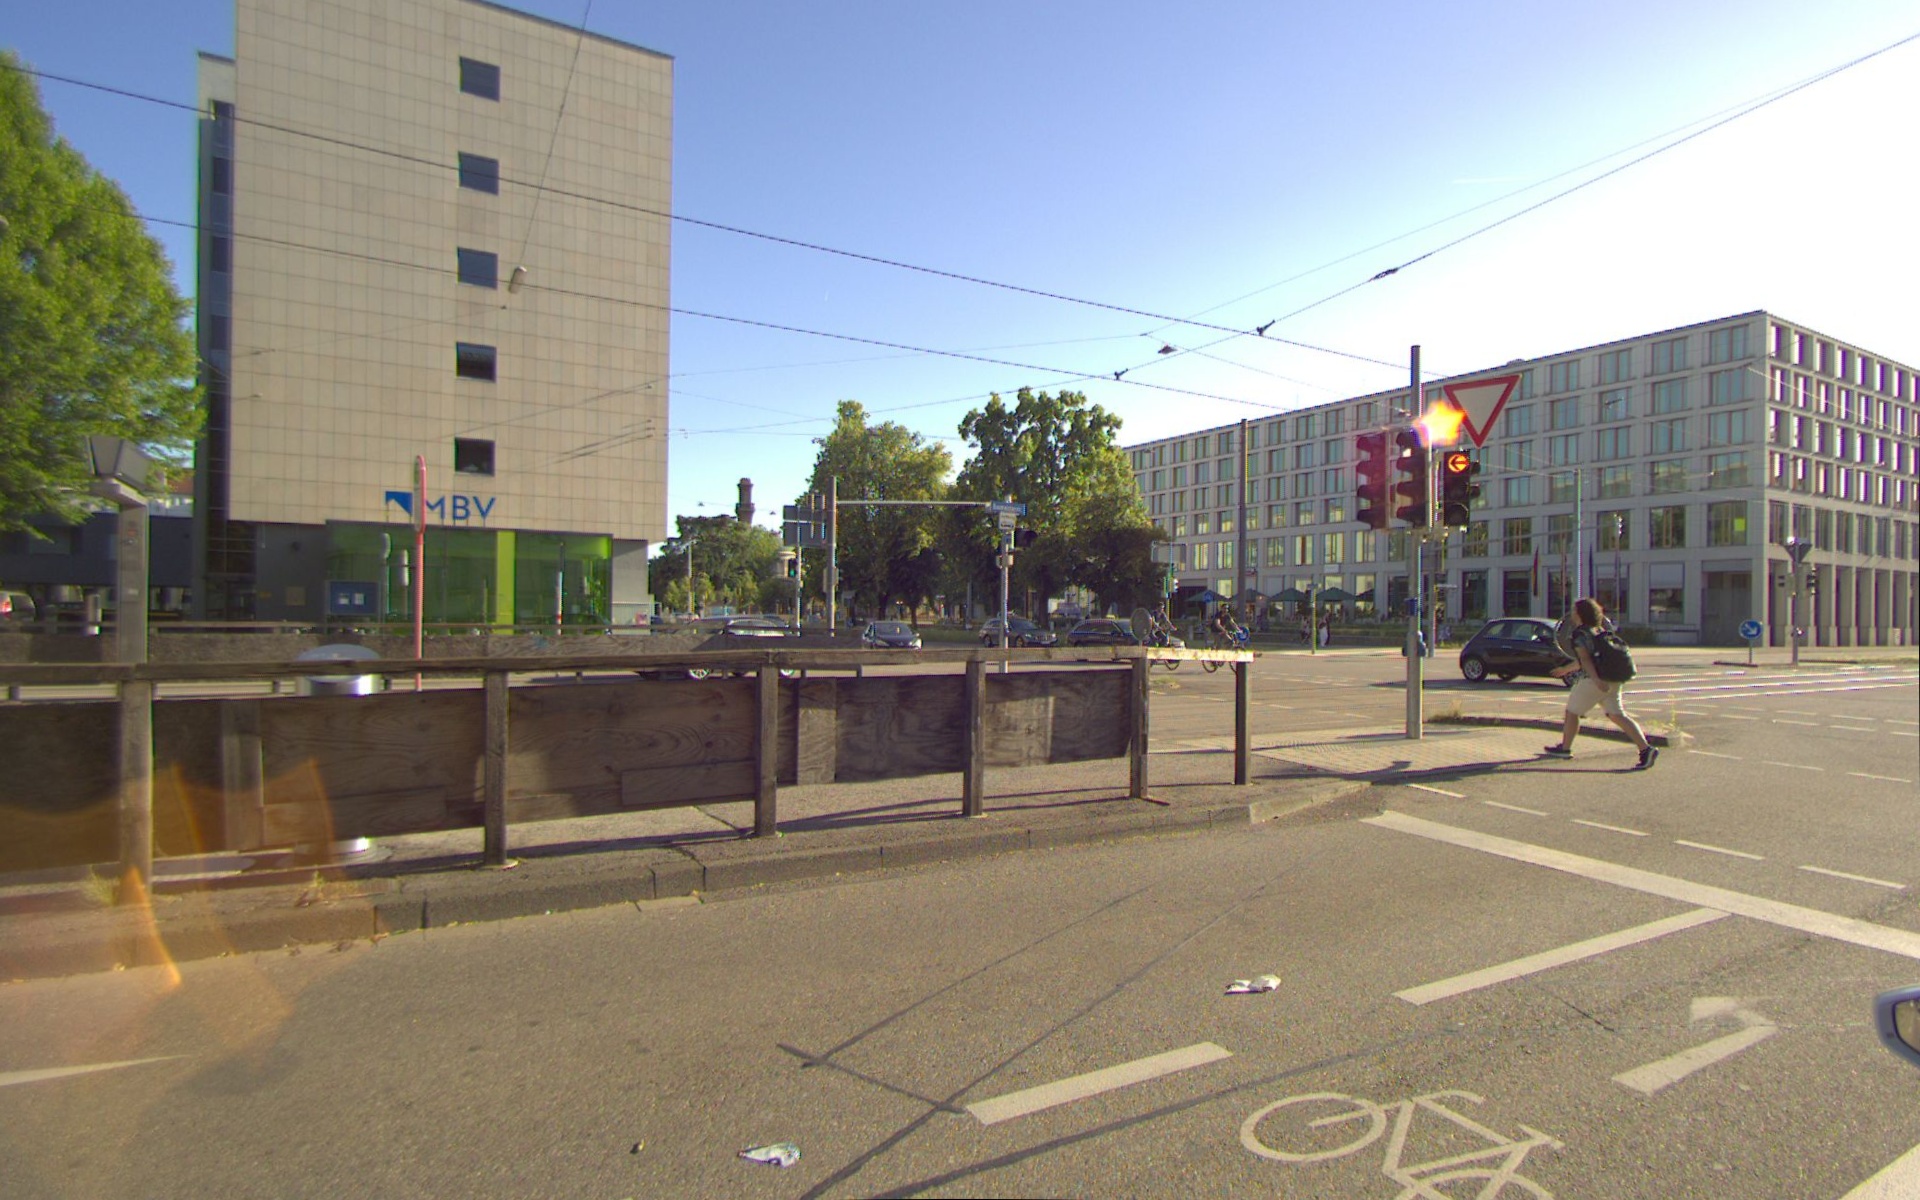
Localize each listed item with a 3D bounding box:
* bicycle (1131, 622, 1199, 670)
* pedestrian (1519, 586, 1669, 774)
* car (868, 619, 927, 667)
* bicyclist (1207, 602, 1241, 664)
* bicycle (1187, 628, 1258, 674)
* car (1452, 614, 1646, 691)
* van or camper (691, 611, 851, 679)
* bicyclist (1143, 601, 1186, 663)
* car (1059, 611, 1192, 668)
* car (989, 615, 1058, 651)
[{"bbox_3d":[5.825,1.298,28.697,0.874,1.305,2.042,1,-1,-24],"label":"bicycle"},{"bbox_3d":[6.338,0.754,10.046,1.027,1.743,1.030,1,-1,-41],"label":"pedestrian"},{"bbox_3d":[-2.190,1.491,36.340,1.745,1.615,4.287,0,-1,1],"label":"car"},{"bbox_3d":[6.906,0.853,26.262,0.586,1.603,0.617,1,-1,-24],"label":"bicyclist"},{"bbox_3d":[6.841,1.322,26.270,0.779,1.137,1.918,1,-1,-24],"label":"bicycle"},{"bbox_3d":[13.226,1.129,22.735,1.505,1.526,3.511,1,0,-32],"label":"car"},{"bbox_3d":[-4.574,1.129,24.422,3.491,1.522,1.586,3,-4,-34],"label":"van or camper"},{"bbox_3d":[5.835,0.908,28.716,0.833,1.717,0.887,1,-1,-24],"label":"bicyclist"},{"bbox_3d":[5.530,1.281,34.264,1.910,1.679,4.878,0,1,-29],"label":"car"},{"bbox_3d":[2.951,1.533,47.349,1.505,1.526,3.511,1,0,-32],"label":"car"}]
